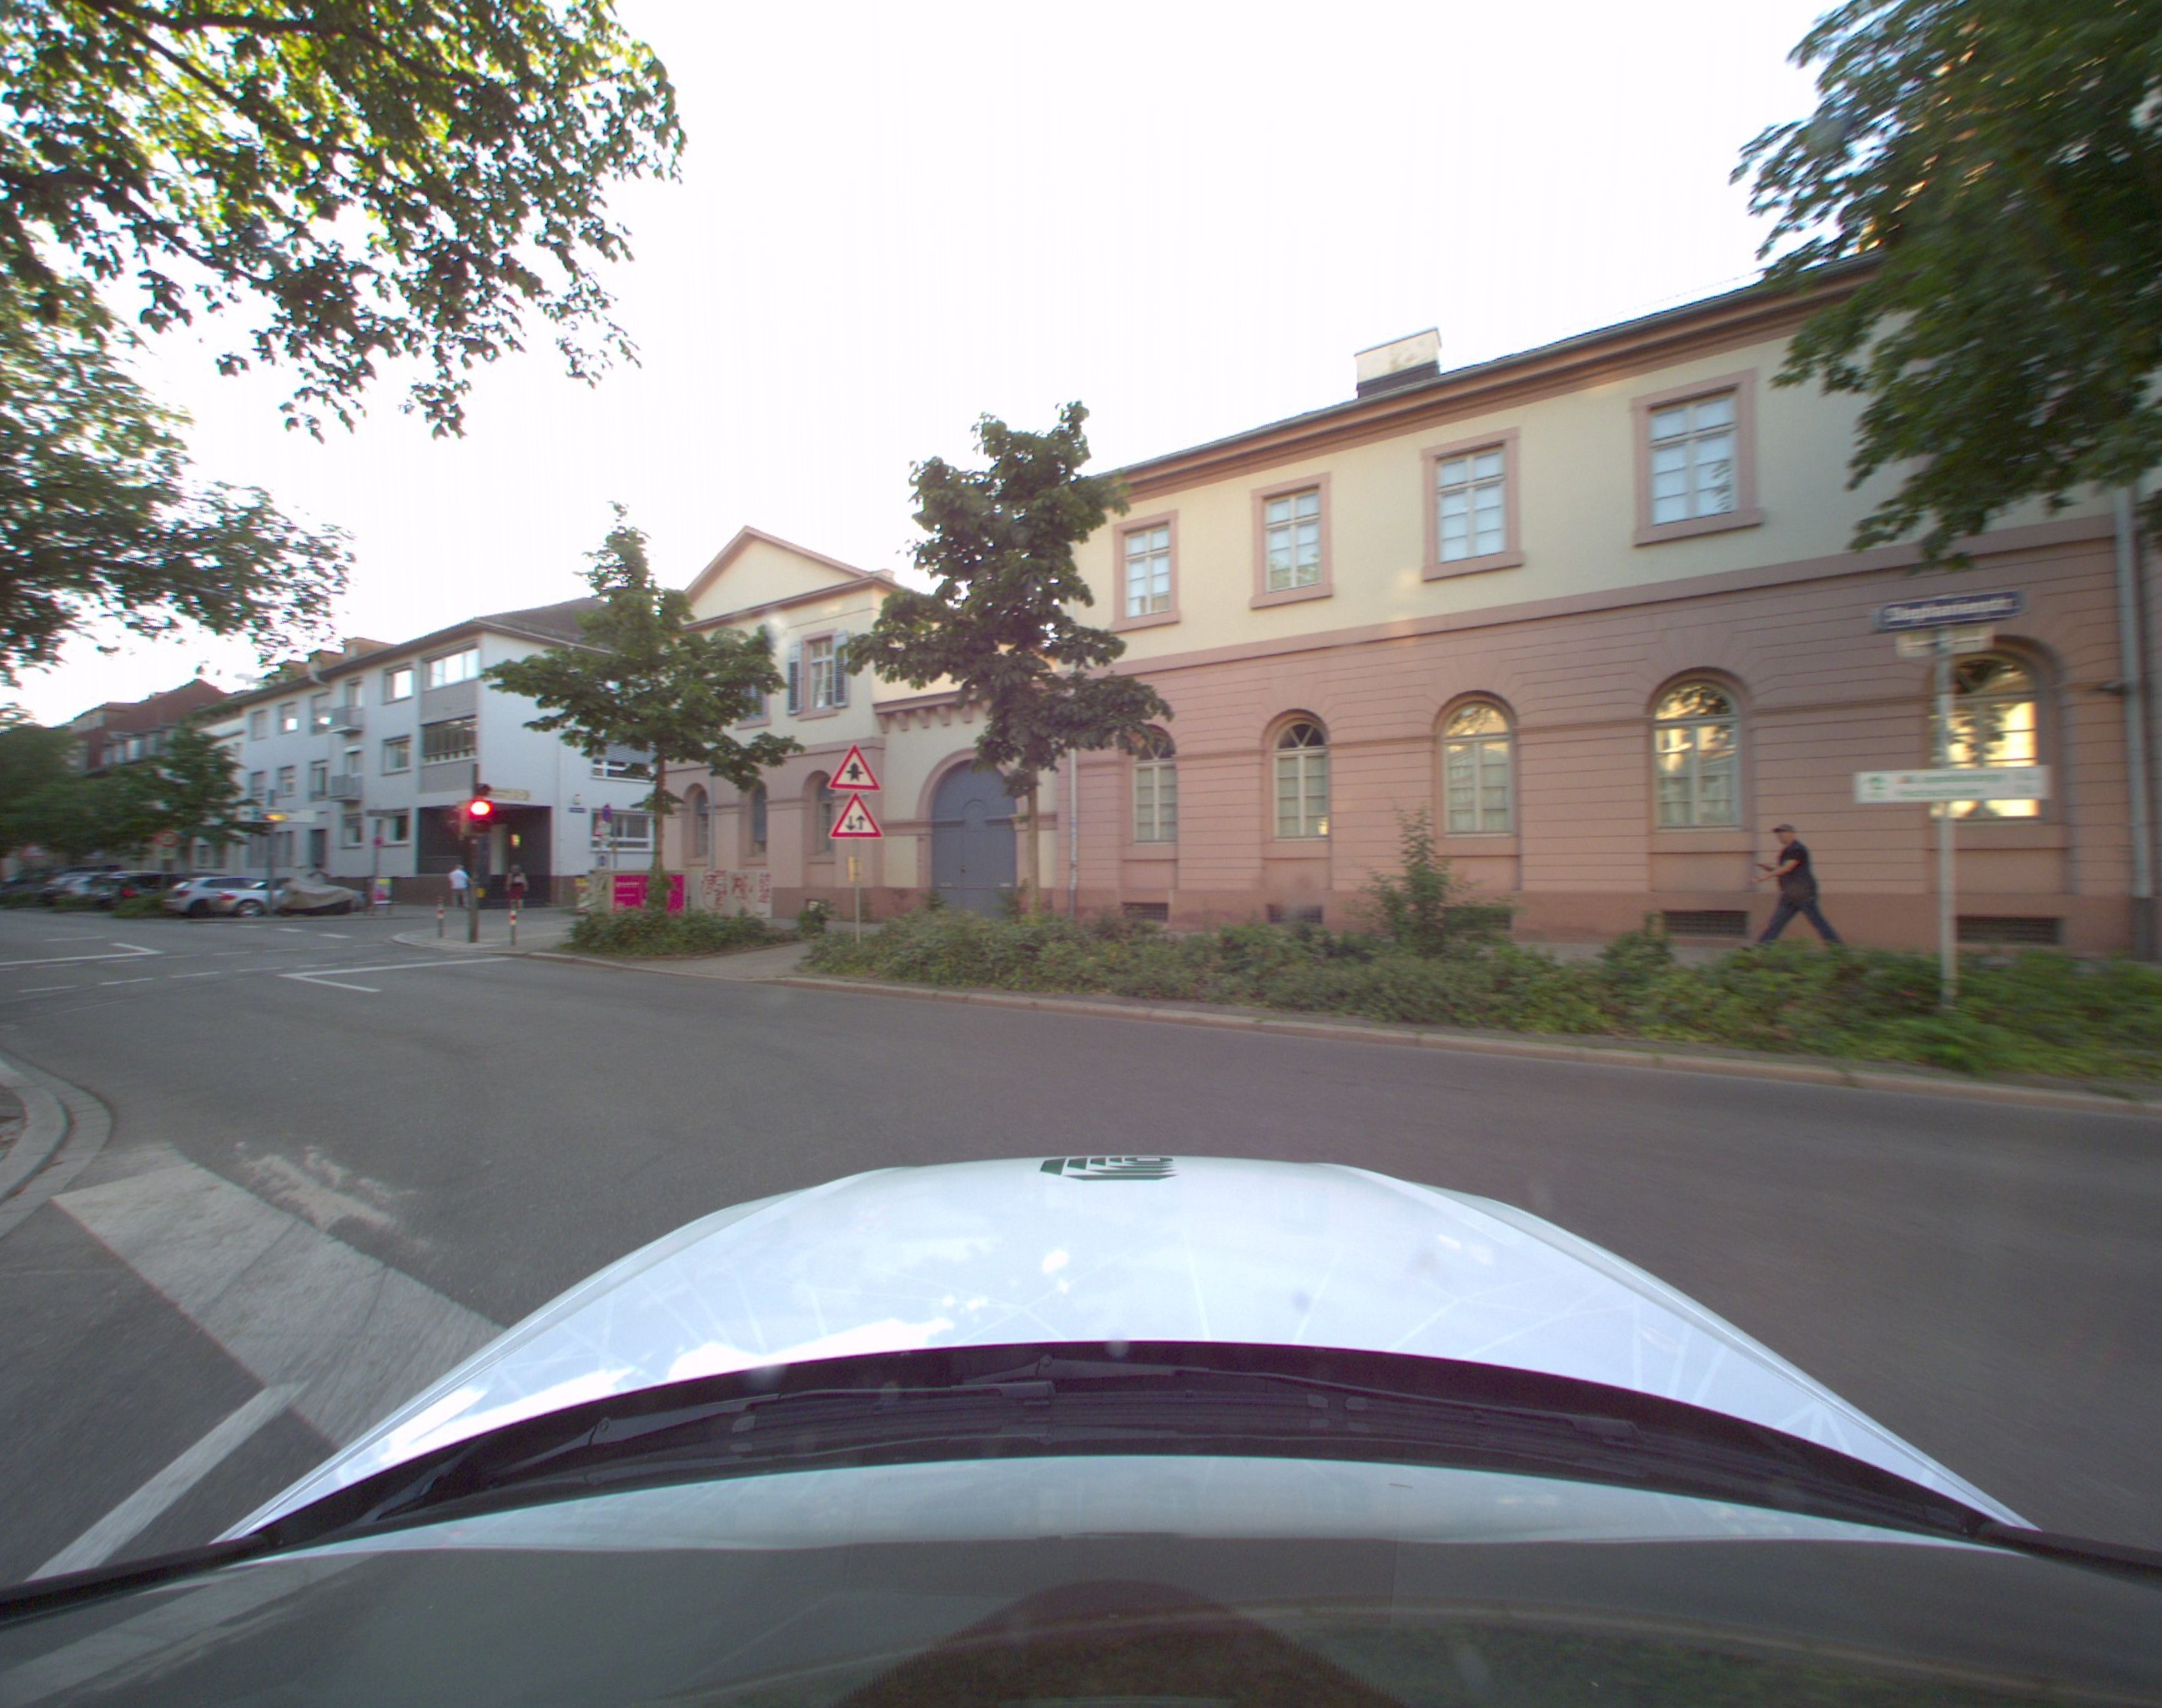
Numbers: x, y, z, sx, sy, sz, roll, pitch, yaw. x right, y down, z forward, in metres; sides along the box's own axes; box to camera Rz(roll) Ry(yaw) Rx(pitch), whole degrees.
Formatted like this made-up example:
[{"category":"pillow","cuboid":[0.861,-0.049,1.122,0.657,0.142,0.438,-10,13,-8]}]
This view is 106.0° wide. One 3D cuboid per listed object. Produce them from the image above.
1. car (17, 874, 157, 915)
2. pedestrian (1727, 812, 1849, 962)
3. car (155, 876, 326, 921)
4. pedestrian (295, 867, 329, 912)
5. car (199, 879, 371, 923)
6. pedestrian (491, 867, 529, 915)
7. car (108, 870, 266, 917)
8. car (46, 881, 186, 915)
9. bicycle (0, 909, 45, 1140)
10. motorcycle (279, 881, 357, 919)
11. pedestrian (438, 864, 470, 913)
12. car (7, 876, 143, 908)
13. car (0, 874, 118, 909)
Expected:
[{"category":"car","cuboid":[-47.880,1.914,39.306,1.685,1.815,4.053,-1,-1,31]},{"category":"pedestrian","cuboid":[9.137,0.413,10.582,1.068,1.839,0.806,-1,-1,34]},{"category":"car","cuboid":[-30.594,1.571,29.786,1.685,1.442,4.053,-1,-1,31]},{"category":"pedestrian","cuboid":[-32.149,1.475,34.028,0.931,1.841,0.774,-1,-2,31]},{"category":"car","cuboid":[-28.084,1.606,28.862,1.685,1.342,4.053,-1,-1,31]},{"category":"pedestrian","cuboid":[-21.112,1.344,30.109,0.761,1.752,0.939,-1,-2,36]},{"category":"car","cuboid":[-36.139,1.550,33.045,1.685,1.690,4.053,-1,-1,31]},{"category":"car","cuboid":[-45.635,2.046,38.623,1.685,1.409,4.053,-1,-1,31]},{"category":"bicycle","cuboid":[-6.361,0.982,4.253,0.851,1.267,2.540,0,-1,-45]},{"category":"motorcycle","cuboid":[-25.472,1.513,27.213,0.605,1.199,1.817,-2,-1,40]},{"category":"pedestrian","cuboid":[-22.826,1.257,29.640,0.690,1.752,0.710,-1,-2,35]},{"category":"car","cuboid":[-50.274,1.861,40.776,1.685,1.530,4.052,-1,-2,31]},{"category":"car","cuboid":[-56.281,2.029,44.761,1.685,1.830,4.052,-1,-2,31]}]
